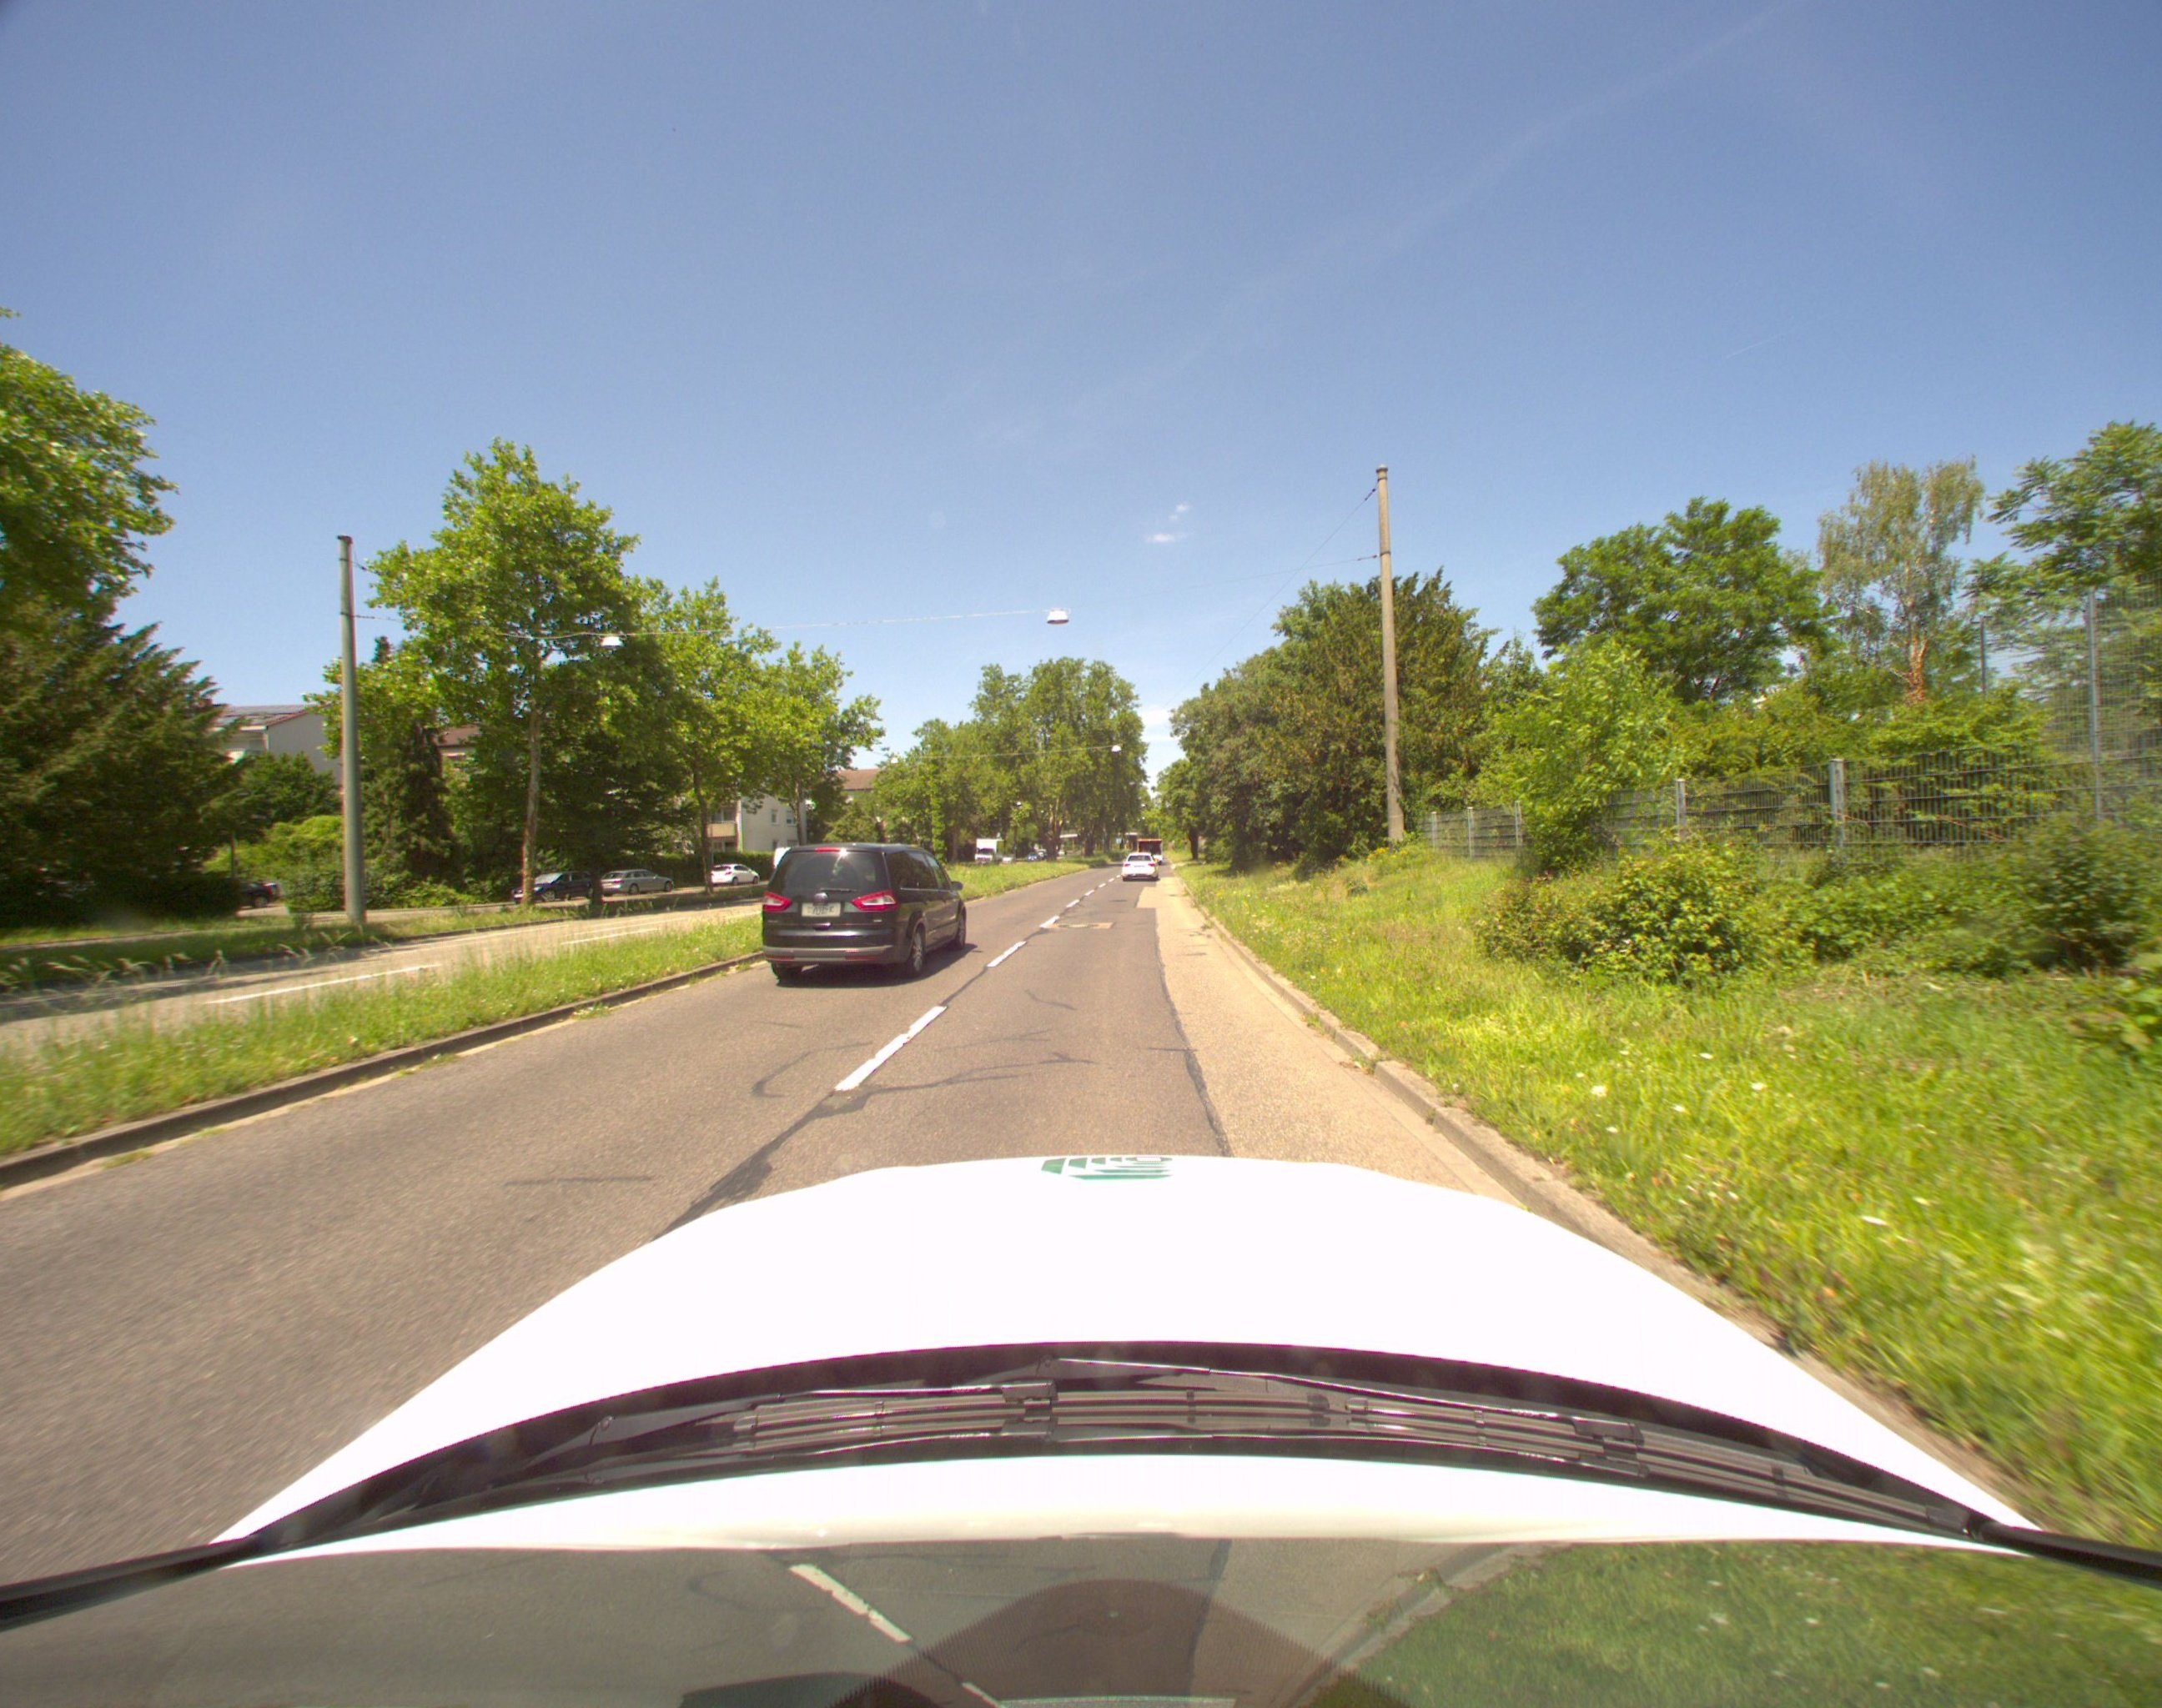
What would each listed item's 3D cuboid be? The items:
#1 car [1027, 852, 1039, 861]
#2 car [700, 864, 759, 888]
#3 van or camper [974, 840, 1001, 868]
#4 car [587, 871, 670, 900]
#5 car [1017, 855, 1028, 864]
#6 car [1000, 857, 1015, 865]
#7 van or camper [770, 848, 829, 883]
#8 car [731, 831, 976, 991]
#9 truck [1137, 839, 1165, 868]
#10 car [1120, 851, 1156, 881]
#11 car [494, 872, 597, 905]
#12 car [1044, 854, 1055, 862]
[{"bbox_3d":[-7.343,0.462,124.914,1.767,1.332,3.656,0,-1,-3],"label":"car"},{"bbox_3d":[-23.787,1.478,55.259,1.872,1.474,4.007,-2,0,6],"label":"car"},{"bbox_3d":[-11.994,-0.003,105.190,2.651,3.331,5.502,-2,0,1],"label":"van or camper"},{"bbox_3d":[-25.164,1.716,45.444,1.870,1.376,4.012,-2,0,10],"label":"car"},{"bbox_3d":[-9.763,0.909,136.874,1.767,1.332,3.656,-2,0,-3],"label":"car"},{"bbox_3d":[-10.865,1.014,120.454,1.910,1.210,4.330,-2,0,-3],"label":"car"},{"bbox_3d":[-22.325,0.872,64.812,2.170,2.587,5.320,-2,0,7],"label":"van or camper"},{"bbox_3d":[-2.850,0.649,11.433,1.846,1.755,4.653,-1,0,4],"label":"car"},{"bbox_3d":[6.543,-0.111,76.913,2.500,2.559,7.611,0,1,3],"label":"truck"},{"bbox_3d":[2.951,0.588,41.828,1.754,1.445,3.621,-1,0,5],"label":"car"},{"bbox_3d":[-26.121,1.652,39.902,1.869,1.393,4.013,-2,0,11],"label":"car"},{"bbox_3d":[-5.617,0.756,145.422,1.767,1.332,3.656,-2,0,-3],"label":"car"}]
